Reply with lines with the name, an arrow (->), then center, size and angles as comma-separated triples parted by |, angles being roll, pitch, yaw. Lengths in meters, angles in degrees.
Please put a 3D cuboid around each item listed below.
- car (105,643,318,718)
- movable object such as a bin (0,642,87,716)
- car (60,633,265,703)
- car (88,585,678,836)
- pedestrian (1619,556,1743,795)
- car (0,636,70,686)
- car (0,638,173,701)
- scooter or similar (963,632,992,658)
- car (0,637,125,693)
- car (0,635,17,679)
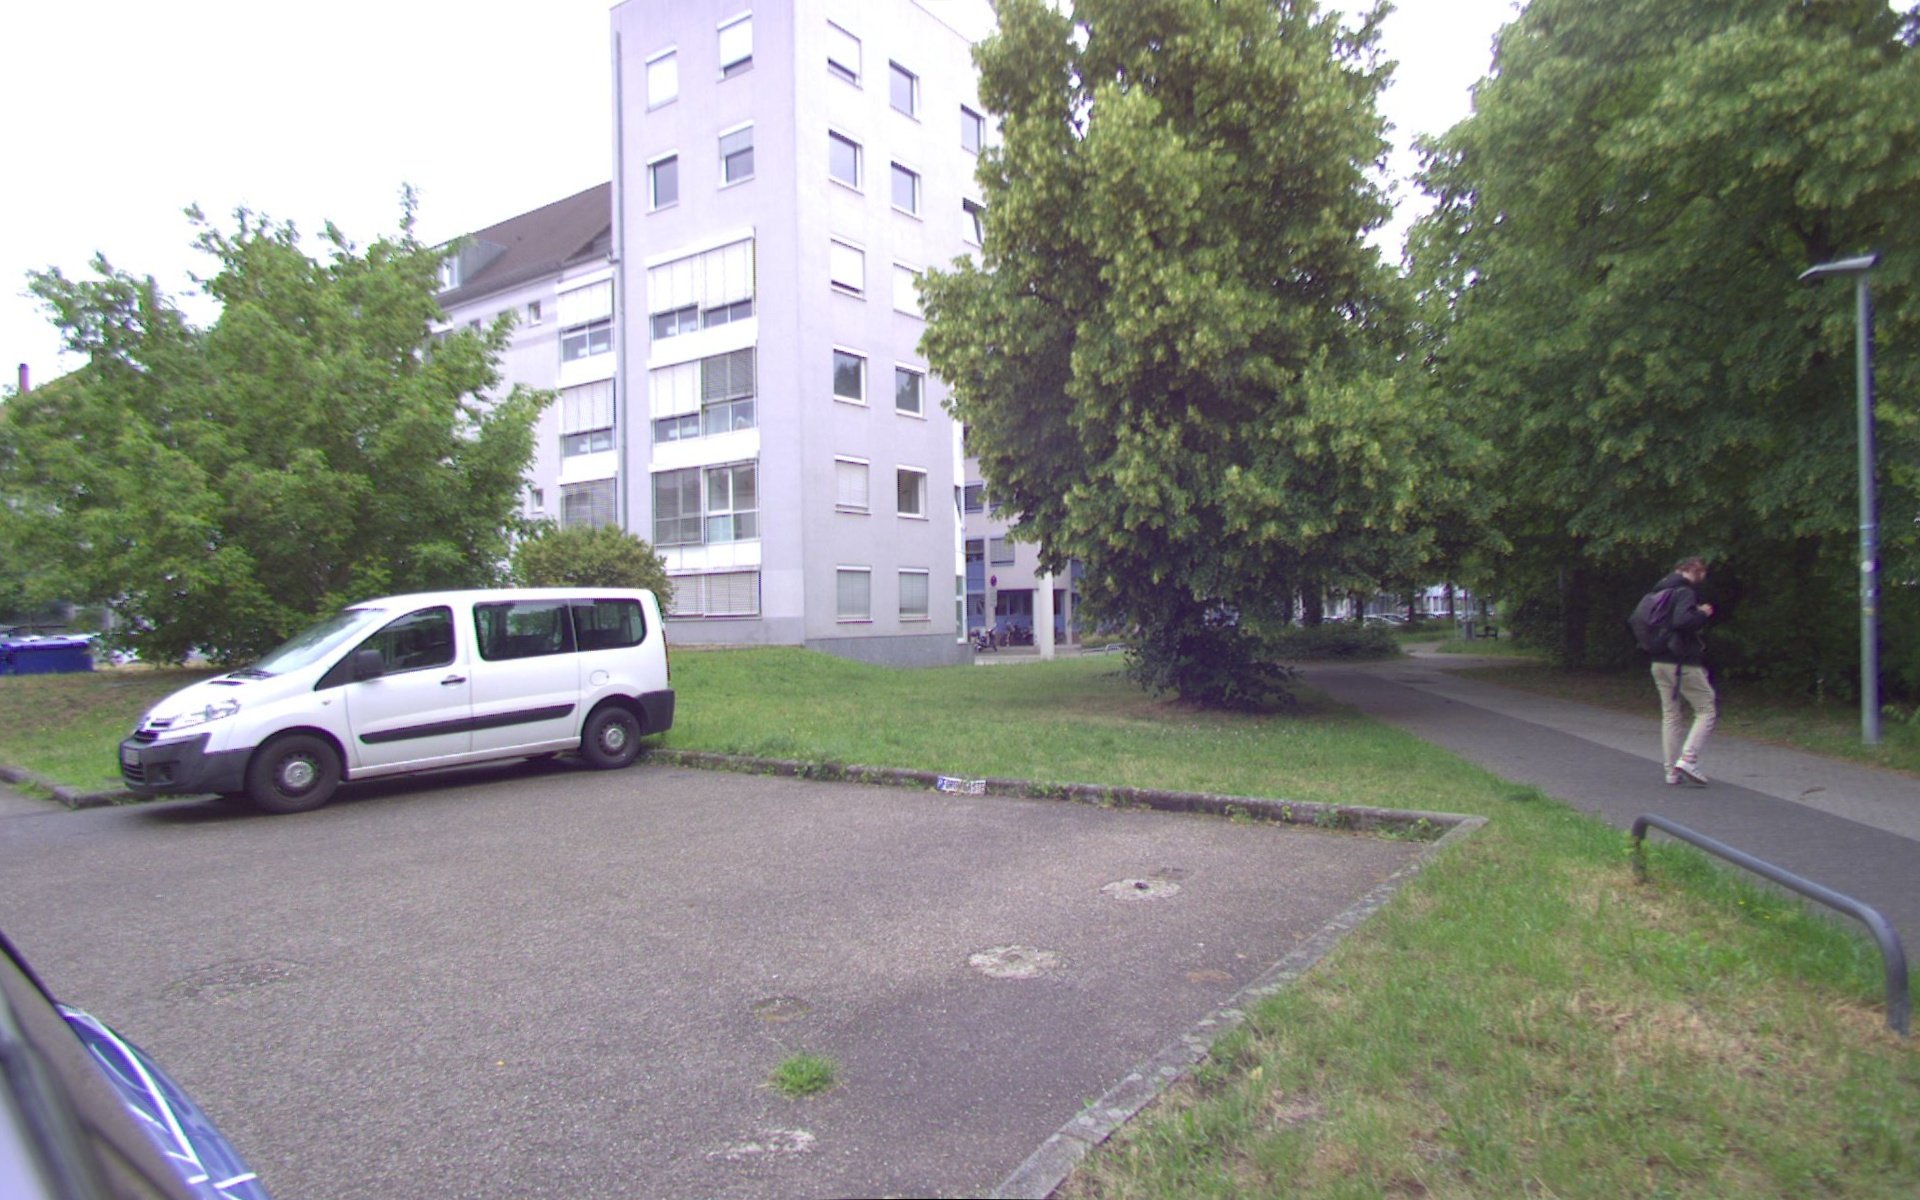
car -> -20.422, 2.124, 27.794 | 1.994, 1.748, 4.294 | -2, -1, 32
movable object such as a bin -> -17.746, 1.507, 19.511 | 1.226, 1.317, 1.166 | -3, -2, 37
car -> -23.001, 1.895, 29.346 | 1.994, 1.748, 4.294 | -2, -1, 32
car -> -5.389, 0.877, 10.053 | 1.900, 1.887, 4.710 | -5, -3, 39
pedestrian -> 5.652, 0.563, 7.936 | 0.681, 1.762, 0.612 | -2, -1, 42
car -> -35.432, 2.248, 36.754 | 1.994, 1.748, 4.294 | -2, -1, 32
car -> -27.839, 2.130, 32.002 | 1.994, 1.748, 4.294 | -2, -1, 32
scooter or similar -> 0.863, 2.235, 50.060 | 0.789, 1.197, 2.504 | -1, -1, 16
car -> -31.471, 2.187, 34.476 | 1.994, 1.748, 4.294 | -2, -1, 32
car -> -40.216, 2.322, 39.758 | 1.994, 1.748, 4.294 | -2, -1, 32
